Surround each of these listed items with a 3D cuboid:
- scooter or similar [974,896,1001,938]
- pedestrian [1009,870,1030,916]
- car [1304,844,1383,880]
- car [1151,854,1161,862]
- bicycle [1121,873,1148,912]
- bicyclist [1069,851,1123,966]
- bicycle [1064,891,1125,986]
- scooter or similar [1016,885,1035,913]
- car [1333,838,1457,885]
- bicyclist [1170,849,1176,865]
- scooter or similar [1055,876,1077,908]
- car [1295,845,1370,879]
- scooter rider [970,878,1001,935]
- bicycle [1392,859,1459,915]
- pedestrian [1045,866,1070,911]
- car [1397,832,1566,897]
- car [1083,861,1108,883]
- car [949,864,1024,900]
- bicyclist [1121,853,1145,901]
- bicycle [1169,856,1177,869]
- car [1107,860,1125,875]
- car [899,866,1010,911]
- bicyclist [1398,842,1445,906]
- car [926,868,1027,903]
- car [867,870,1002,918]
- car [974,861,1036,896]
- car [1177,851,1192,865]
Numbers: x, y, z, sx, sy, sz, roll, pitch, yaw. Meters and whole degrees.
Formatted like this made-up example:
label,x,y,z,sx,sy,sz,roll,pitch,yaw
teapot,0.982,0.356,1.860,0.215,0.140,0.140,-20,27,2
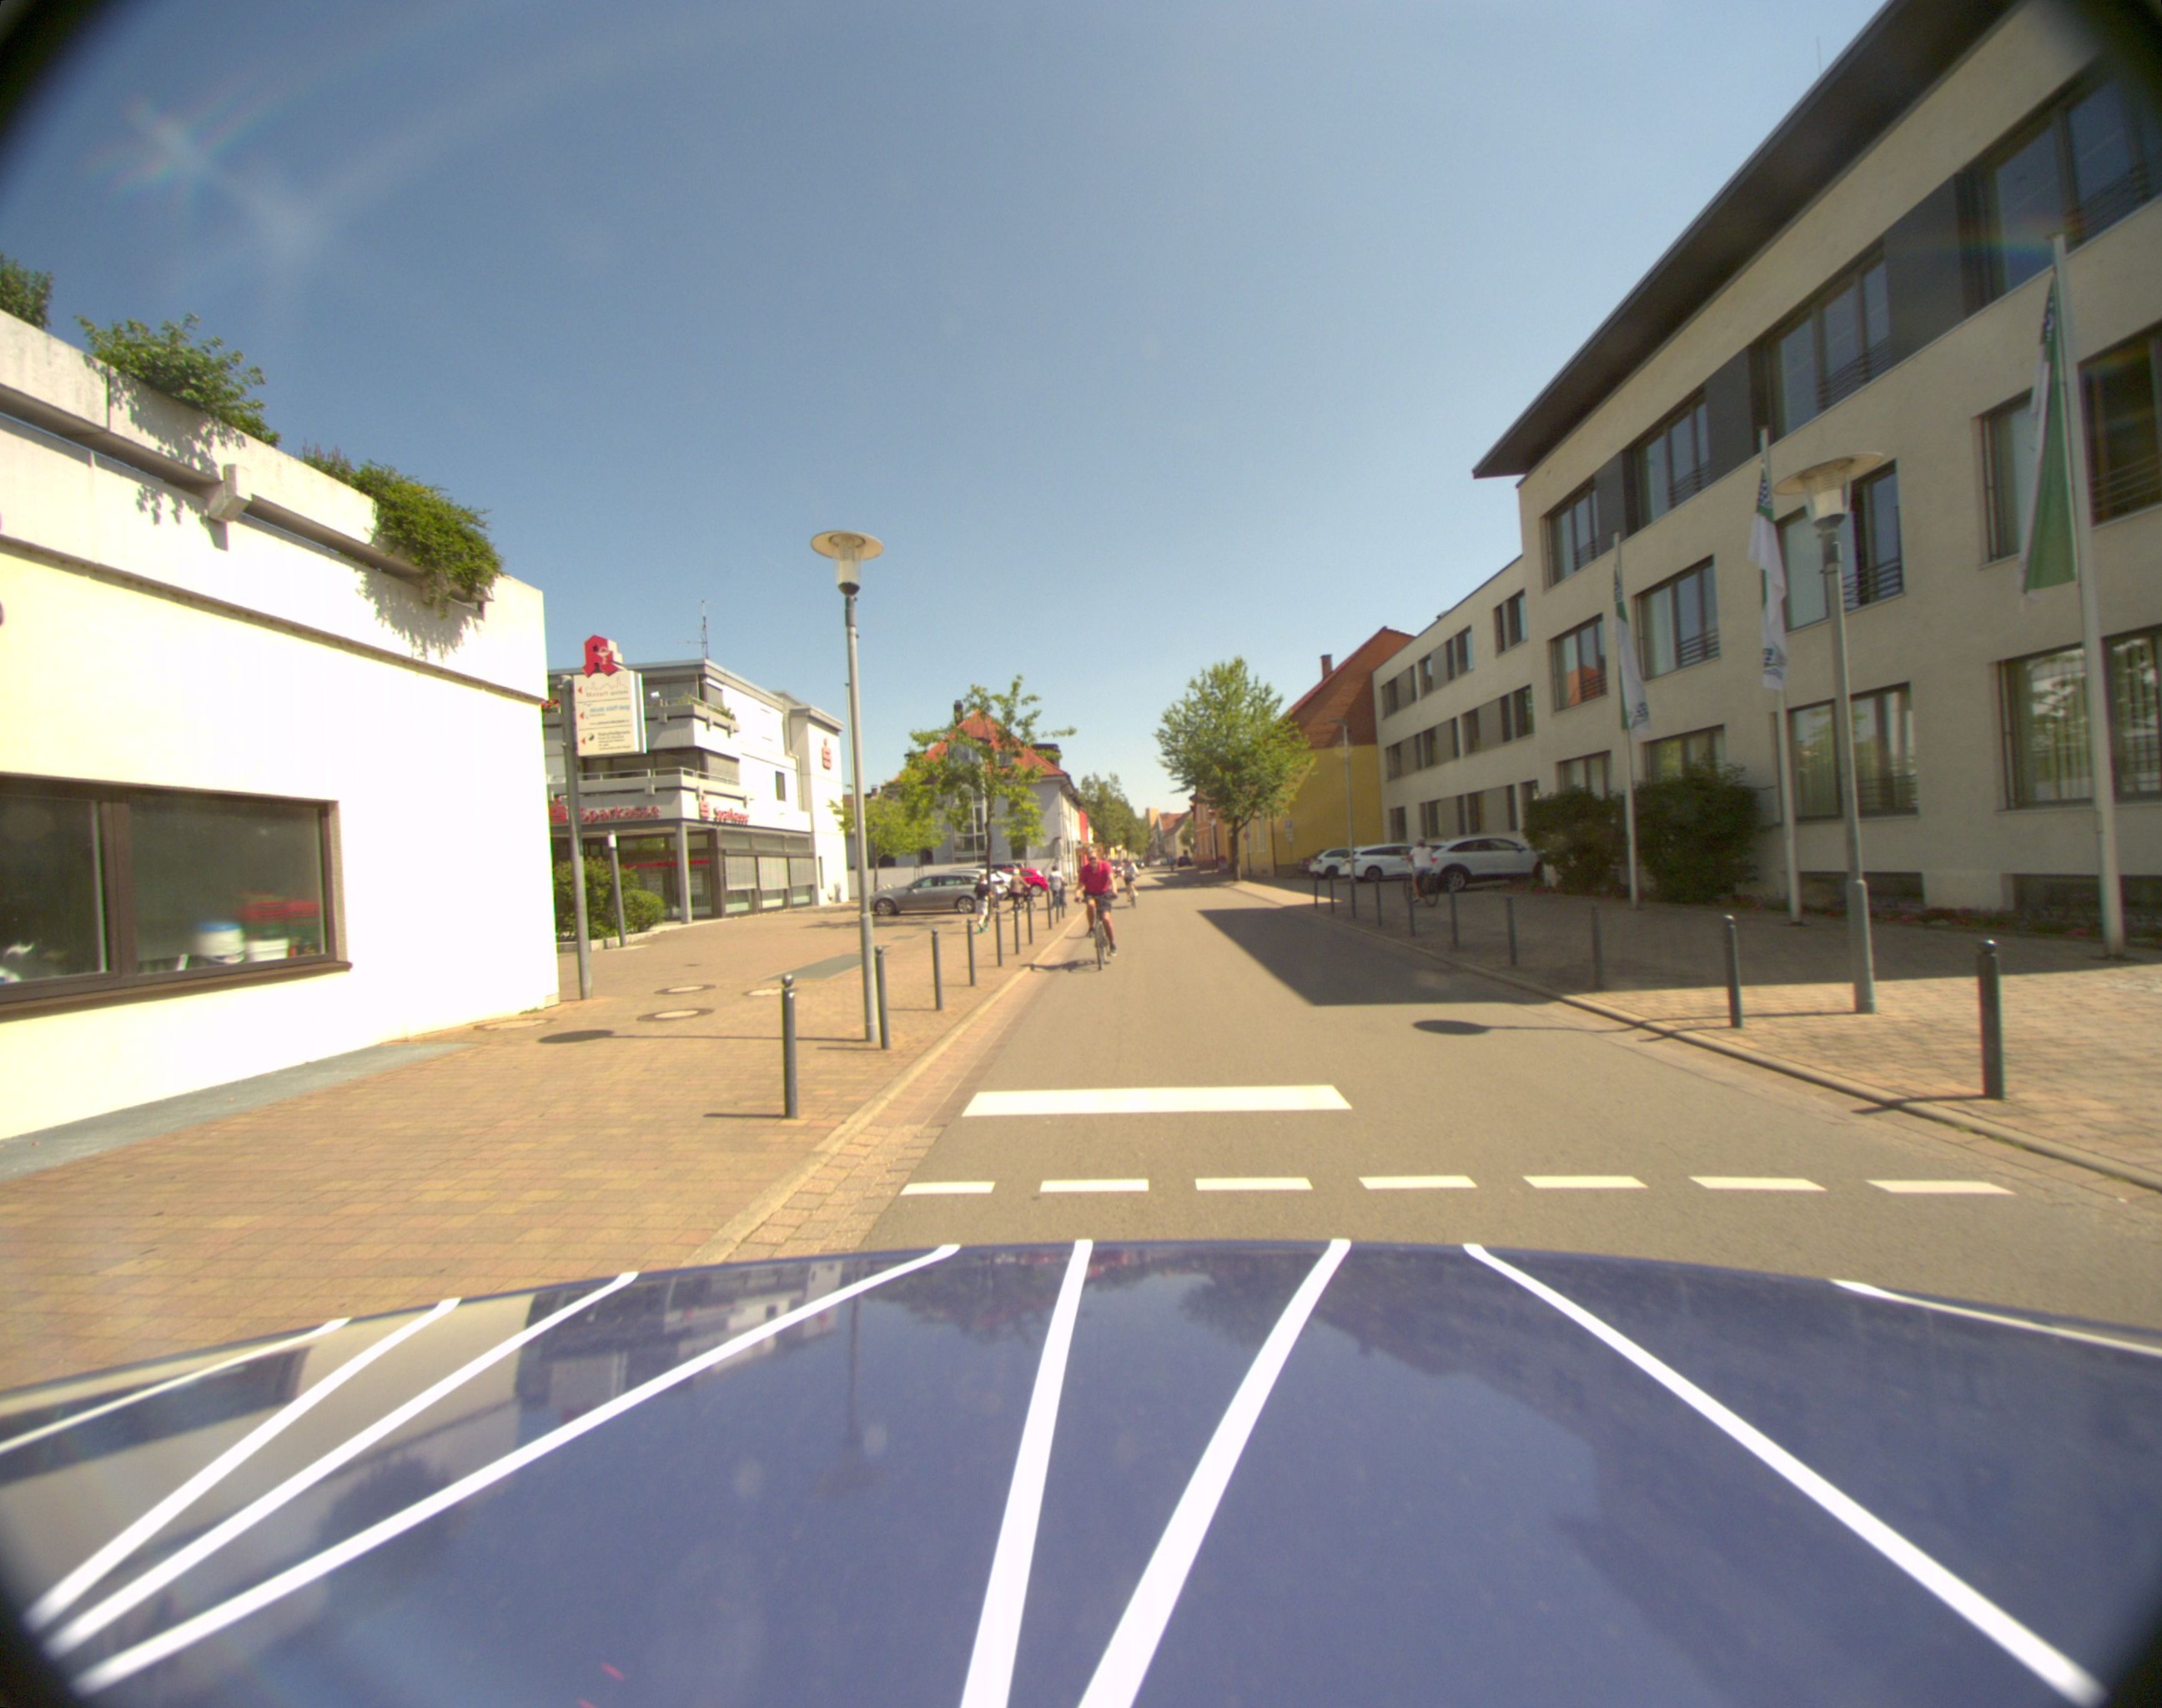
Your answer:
label,x,y,z,sx,sy,sz,roll,pitch,yaw
scooter or similar,-2.312,1.554,18.928,0.411,0.959,0.960,-3,0,7
pedestrian,-2.063,1.298,25.626,0.531,1.492,0.724,-3,0,5
car,12.434,0.385,36.136,3.138,1.441,1.643,-5,0,5
car,15.835,0.819,160.455,1.998,1.696,4.001,-3,0,3
bicycle,1.794,1.279,25.864,0.689,1.182,1.799,-6,0,1
bicyclist,0.243,0.837,12.007,0.702,1.706,0.760,-4,1,2
bicycle,0.208,1.259,11.817,0.738,1.182,1.971,-6,0,1
scooter or similar,-1.913,1.551,26.254,0.535,0.940,0.547,-3,0,7
car,12.698,0.299,30.906,4.323,1.470,1.514,-5,0,5
bicyclist,9.268,0.300,76.702,0.538,1.630,0.551,-3,0,3
scooter or similar,-0.528,1.371,27.476,0.505,1.112,0.910,-2,0,17
car,12.643,0.403,38.338,3.257,1.393,1.375,-5,0,3
scooter rider,-2.371,1.279,18.899,0.462,1.317,1.133,-3,0,6
bicycle,8.392,0.780,18.620,0.710,1.244,1.972,-5,0,2
pedestrian,-0.827,1.188,26.561,0.512,1.507,1.050,-2,0,17
car,11.852,0.305,22.677,3.996,1.538,1.749,-5,0,3
car,0.982,1.214,52.355,1.529,1.444,3.521,-3,0,-1
car,-4.634,1.380,37.594,3.429,1.543,1.490,-3,0,0
bicyclist,1.765,0.770,25.905,0.702,1.572,0.878,-4,1,2
bicycle,9.302,0.863,76.732,0.594,1.182,1.725,-4,0,3
car,3.279,1.235,71.613,1.529,1.298,3.250,-2,0,-1
car,-4.891,1.327,29.770,4.045,1.550,1.712,-2,0,-2
bicyclist,8.344,0.475,18.644,0.716,1.497,0.871,-3,0,2
car,-4.780,1.428,35.061,4.445,1.434,1.656,-2,0,-3
car,-5.106,1.398,26.909,4.444,1.457,1.690,-2,1,-1
car,-3.956,1.265,39.692,3.040,1.727,1.345,-2,0,-1
car,14.758,0.568,108.724,1.825,1.805,4.001,-3,0,3
